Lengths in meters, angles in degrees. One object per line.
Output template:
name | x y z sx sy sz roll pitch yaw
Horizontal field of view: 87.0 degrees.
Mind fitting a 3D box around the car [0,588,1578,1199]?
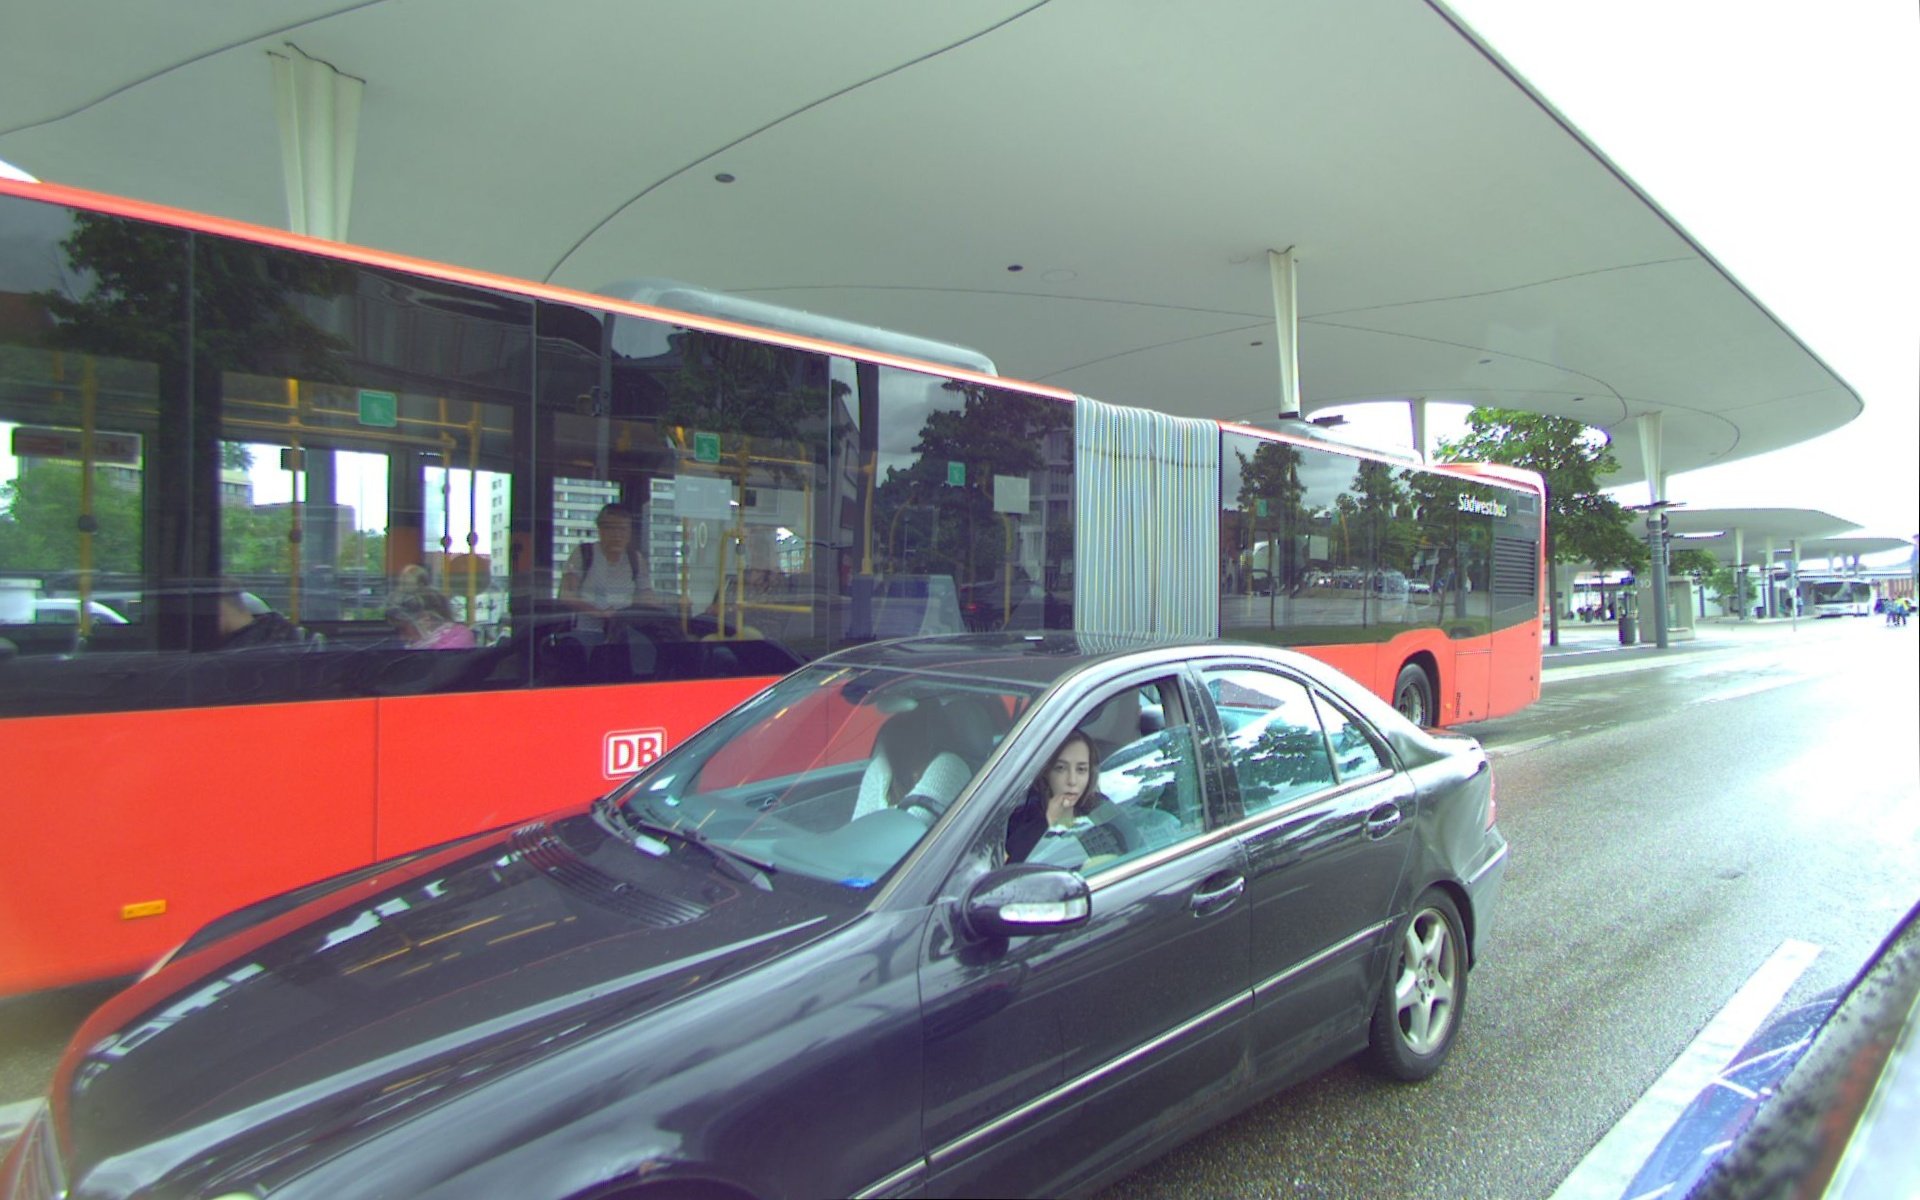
car | 0.117 0.782 3.063 4.359 1.499 1.747 -1 -2 -42

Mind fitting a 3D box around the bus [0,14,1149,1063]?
bus | -3.412 -0.192 4.509 10.016 3.214 2.747 0 0 -41

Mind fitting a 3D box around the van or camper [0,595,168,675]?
van or camper | -29.777 1.104 33.231 5.868 2.495 2.106 0 -1 -41

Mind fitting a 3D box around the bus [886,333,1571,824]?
bus | 3.257 -0.154 10.298 7.978 3.214 2.747 0 0 -41

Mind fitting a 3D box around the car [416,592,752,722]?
car | -5.510 0.761 15.140 4.356 1.670 1.803 0 -2 -41

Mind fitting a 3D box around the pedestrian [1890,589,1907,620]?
pedestrian | 49.973 0.256 53.908 0.577 1.645 0.576 0 -1 -41

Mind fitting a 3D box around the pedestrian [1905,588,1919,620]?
pedestrian | 50.339 0.218 53.423 0.543 1.645 0.556 0 -1 -41

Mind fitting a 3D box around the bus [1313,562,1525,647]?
bus | 20.106 0.189 43.766 12.131 3.147 3.001 0 -4 -39

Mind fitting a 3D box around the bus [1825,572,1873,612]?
bus | 75.372 -0.647 85.718 2.666 3.169 9.565 -1 -1 43
